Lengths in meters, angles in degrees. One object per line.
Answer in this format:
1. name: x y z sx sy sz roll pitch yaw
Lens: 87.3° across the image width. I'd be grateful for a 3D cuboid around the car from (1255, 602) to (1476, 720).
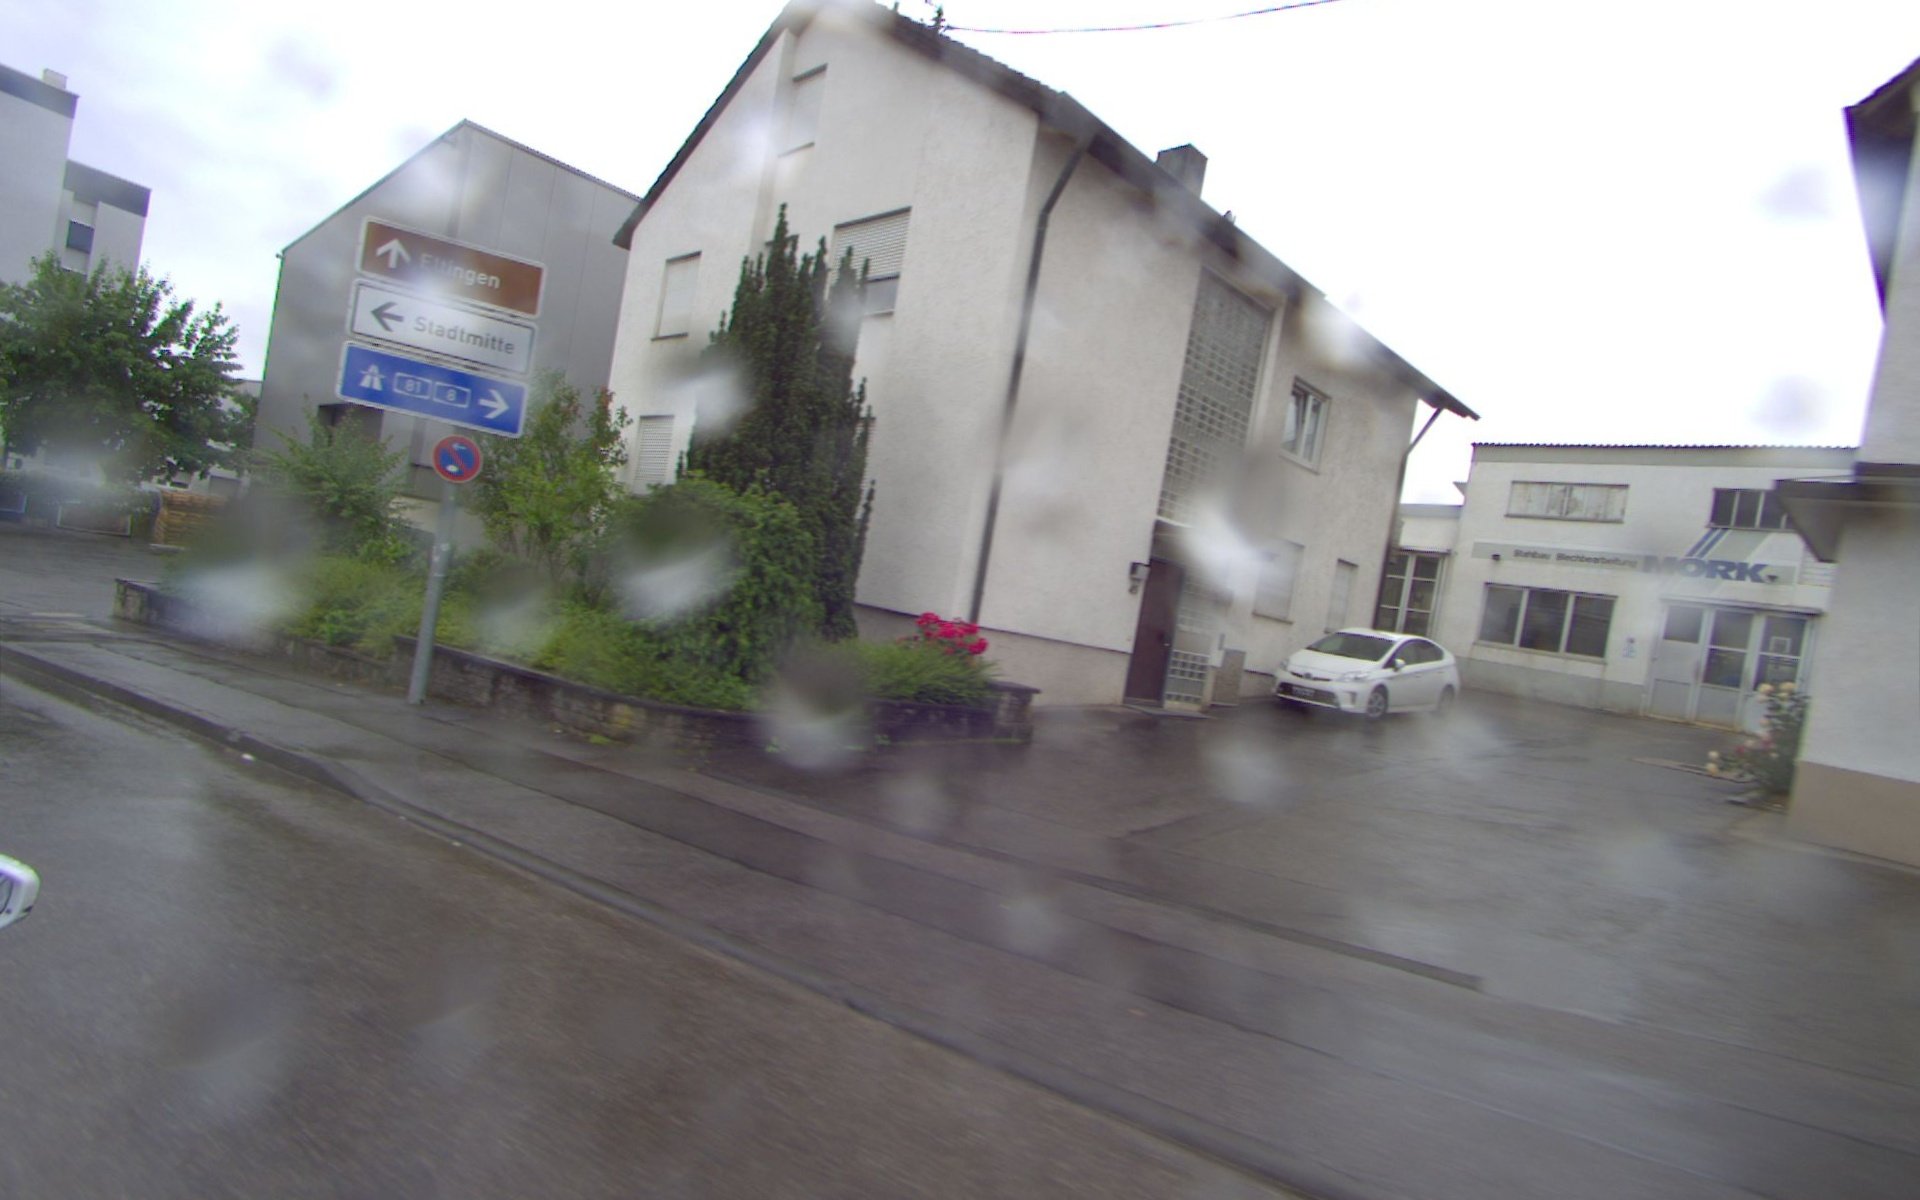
1. car: 7.374 1.143 18.125 4.266 1.619 1.781 7 2 -41
